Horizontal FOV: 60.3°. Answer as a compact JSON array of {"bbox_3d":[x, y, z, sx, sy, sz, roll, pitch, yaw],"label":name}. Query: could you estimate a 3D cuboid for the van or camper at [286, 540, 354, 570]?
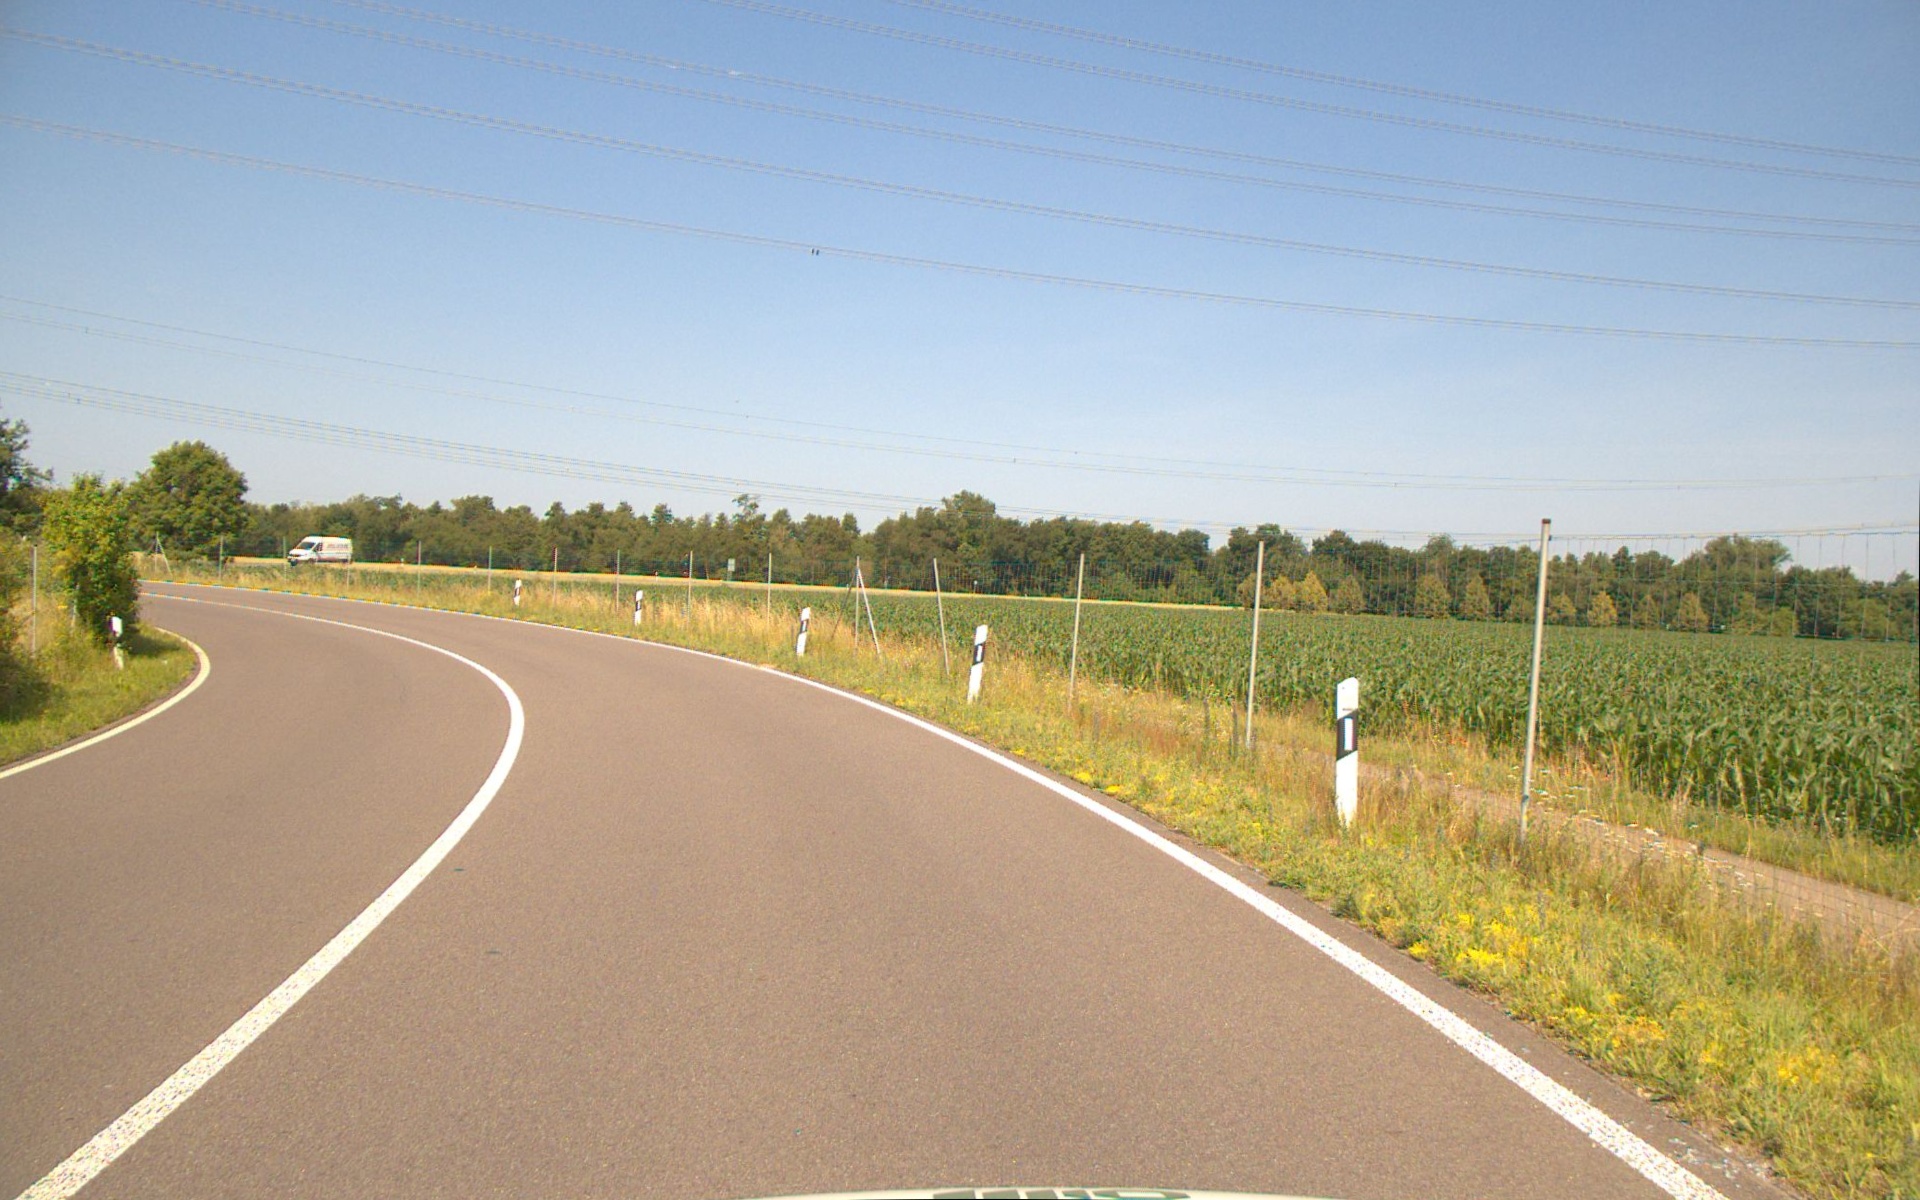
[{"bbox_3d":[-54.778,-3.828,141.678,1.953,2.306,5.768,2,0,21],"label":"van or camper"}]
